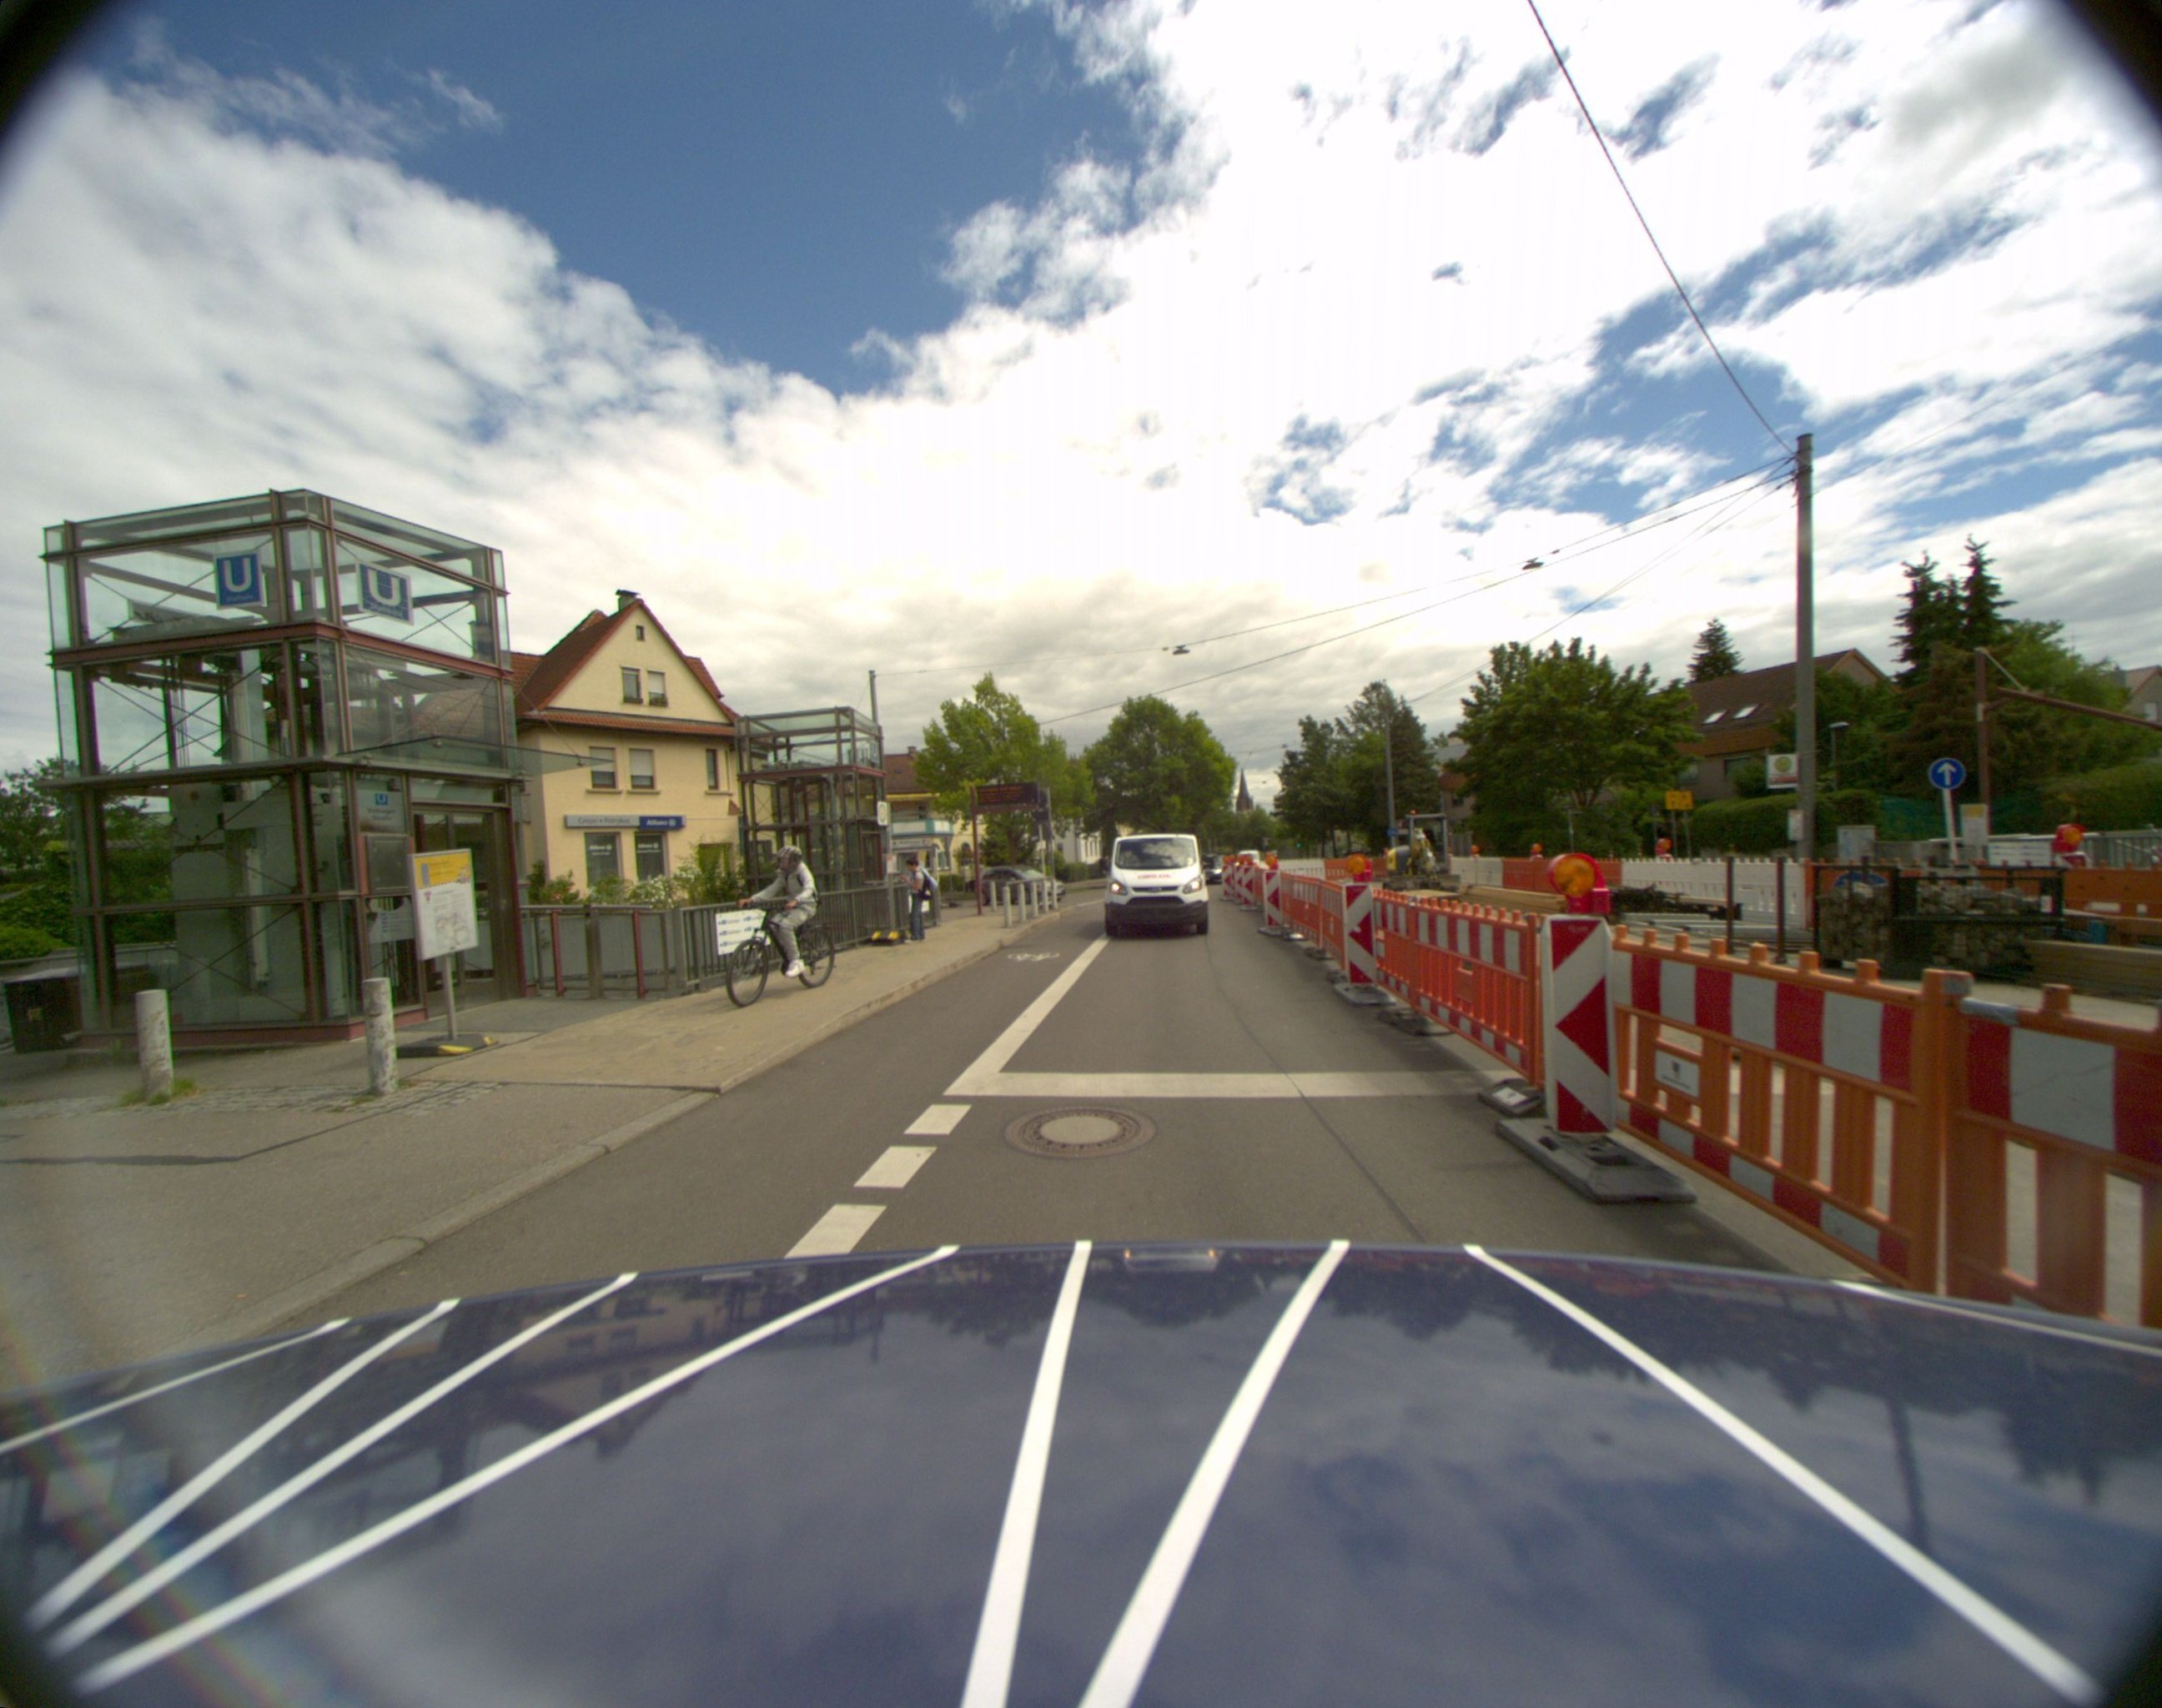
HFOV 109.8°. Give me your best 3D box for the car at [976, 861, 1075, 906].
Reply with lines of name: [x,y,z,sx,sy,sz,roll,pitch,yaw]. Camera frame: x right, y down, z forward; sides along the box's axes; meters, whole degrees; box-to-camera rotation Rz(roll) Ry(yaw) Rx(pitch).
car: [-2.315,1.230,30.942,1.873,1.615,3.990,-3,-1,-42]

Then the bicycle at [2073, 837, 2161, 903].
bicycle: [18.246,0.265,12.805,0.539,1.076,2.133,-2,0,10]

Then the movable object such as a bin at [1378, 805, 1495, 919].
movable object such as a bin: [9.555,0.175,20.977,1.996,2.610,6.530,-2,0,18]

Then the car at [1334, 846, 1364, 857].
car: [42.421,-0.419,120.426,4.001,1.499,1.998,-3,0,-15]

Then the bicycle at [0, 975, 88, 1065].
bicycle: [-13.512,2.094,8.771,0.568,0.974,2.472,-4,0,9]

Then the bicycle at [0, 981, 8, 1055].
bicycle: [-14.851,2.213,8.978,0.568,0.974,2.472,-4,0,9]

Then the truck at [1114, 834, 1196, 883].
truck: [5.678,0.427,59.418,2.347,3.178,6.619,-2,-4,-36]

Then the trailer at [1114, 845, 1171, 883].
trailer: [4.241,0.639,51.509,2.596,2.232,5.680,-5,-1,16]

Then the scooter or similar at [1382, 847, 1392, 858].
scooter or similar: [25.570,-0.139,63.485,0.637,0.859,1.031,-3,0,14]

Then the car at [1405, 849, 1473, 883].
car: [17.338,0.530,36.987,1.857,1.504,4.444,-2,0,10]

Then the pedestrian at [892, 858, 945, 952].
pedestrian: [-2.882,0.903,13.502,0.599,1.574,0.401,-9,2,8]

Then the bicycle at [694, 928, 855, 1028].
bicycle: [-3.219,1.280,8.239,0.637,0.749,2.063,-3,-1,8]

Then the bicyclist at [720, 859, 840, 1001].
bicyclist: [-3.238,0.775,8.280,0.657,1.407,1.179,-3,0,8]

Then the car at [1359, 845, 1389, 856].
car: [47.117,-0.587,122.363,4.001,1.499,1.998,-3,0,-12]

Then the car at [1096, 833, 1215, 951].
car: [1.713,0.654,16.418,1.997,2.002,5.516,-4,0,8]

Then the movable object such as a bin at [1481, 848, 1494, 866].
movable object such as a bin: [23.000,0.158,42.957,0.476,1.005,0.495,-2,0,10]

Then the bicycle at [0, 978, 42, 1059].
bicycle: [-14.199,2.142,8.835,0.568,0.974,2.472,-4,0,9]
